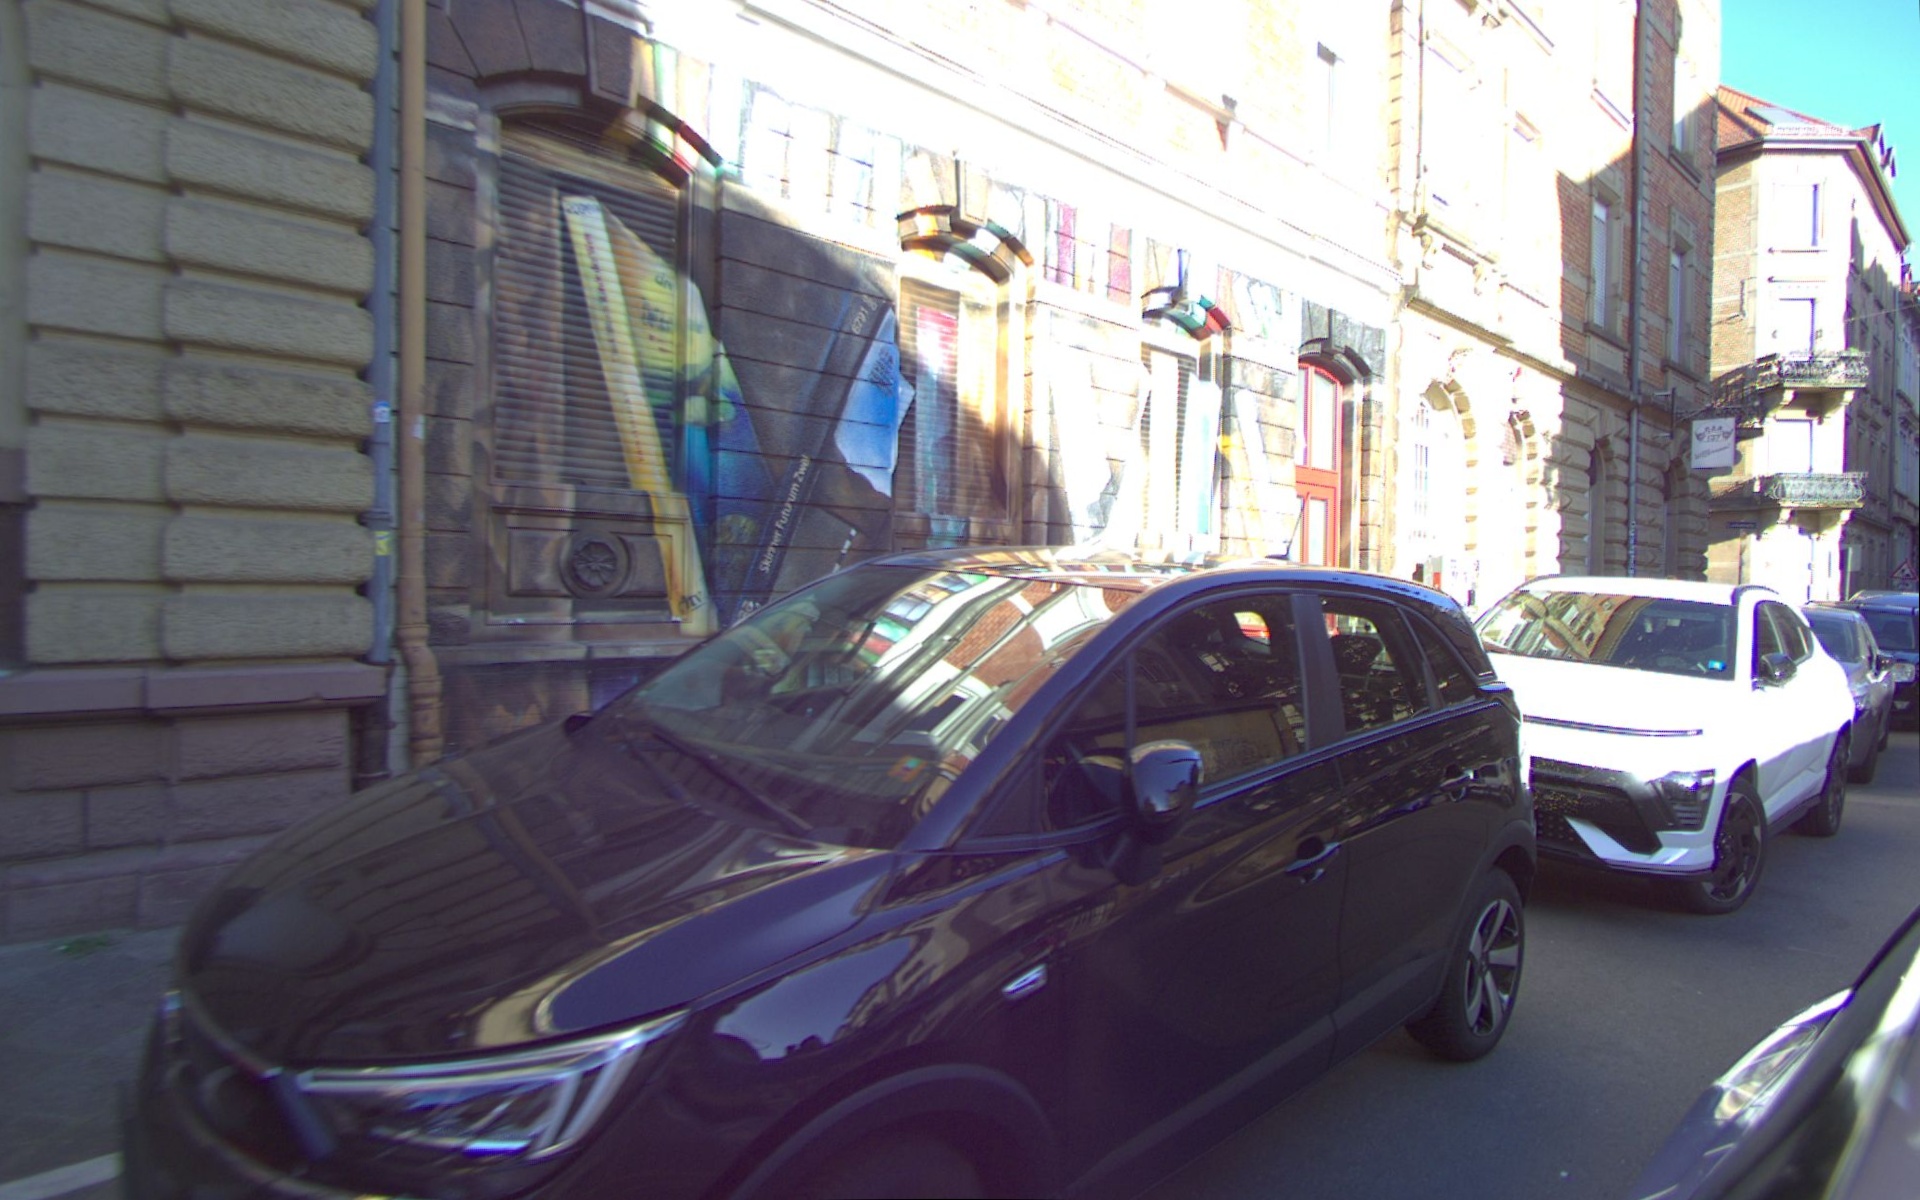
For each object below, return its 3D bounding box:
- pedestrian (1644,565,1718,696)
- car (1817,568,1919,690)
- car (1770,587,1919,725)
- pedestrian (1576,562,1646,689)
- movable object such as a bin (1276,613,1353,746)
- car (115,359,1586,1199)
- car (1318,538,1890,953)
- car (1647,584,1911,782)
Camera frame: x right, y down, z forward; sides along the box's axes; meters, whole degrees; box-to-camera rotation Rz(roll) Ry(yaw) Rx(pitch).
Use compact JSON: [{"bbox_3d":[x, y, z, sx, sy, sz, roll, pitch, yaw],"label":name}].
[{"bbox_3d":[9.299,0.371,13.046,0.715,1.624,0.591,1,1,-43],"label":"pedestrian"},{"bbox_3d":[15.014,0.412,16.045,3.871,1.735,1.706,0,2,-43],"label":"car"},{"bbox_3d":[11.835,0.628,13.131,3.619,1.532,1.537,0,2,-43],"label":"car"},{"bbox_3d":[8.741,0.325,13.580,0.722,1.642,0.575,1,1,-43],"label":"pedestrian"},{"bbox_3d":[3.116,0.678,8.944,0.542,1.065,0.601,3,3,16],"label":"movable object such as a bin"},{"bbox_3d":[0.144,0.590,2.849,3.856,1.663,1.690,0,1,-41],"label":"car"},{"bbox_3d":[4.140,0.585,6.222,4.140,1.711,1.811,-1,0,-40],"label":"car"},{"bbox_3d":[8.066,0.652,9.841,3.845,1.544,1.572,0,-1,-45],"label":"car"}]
